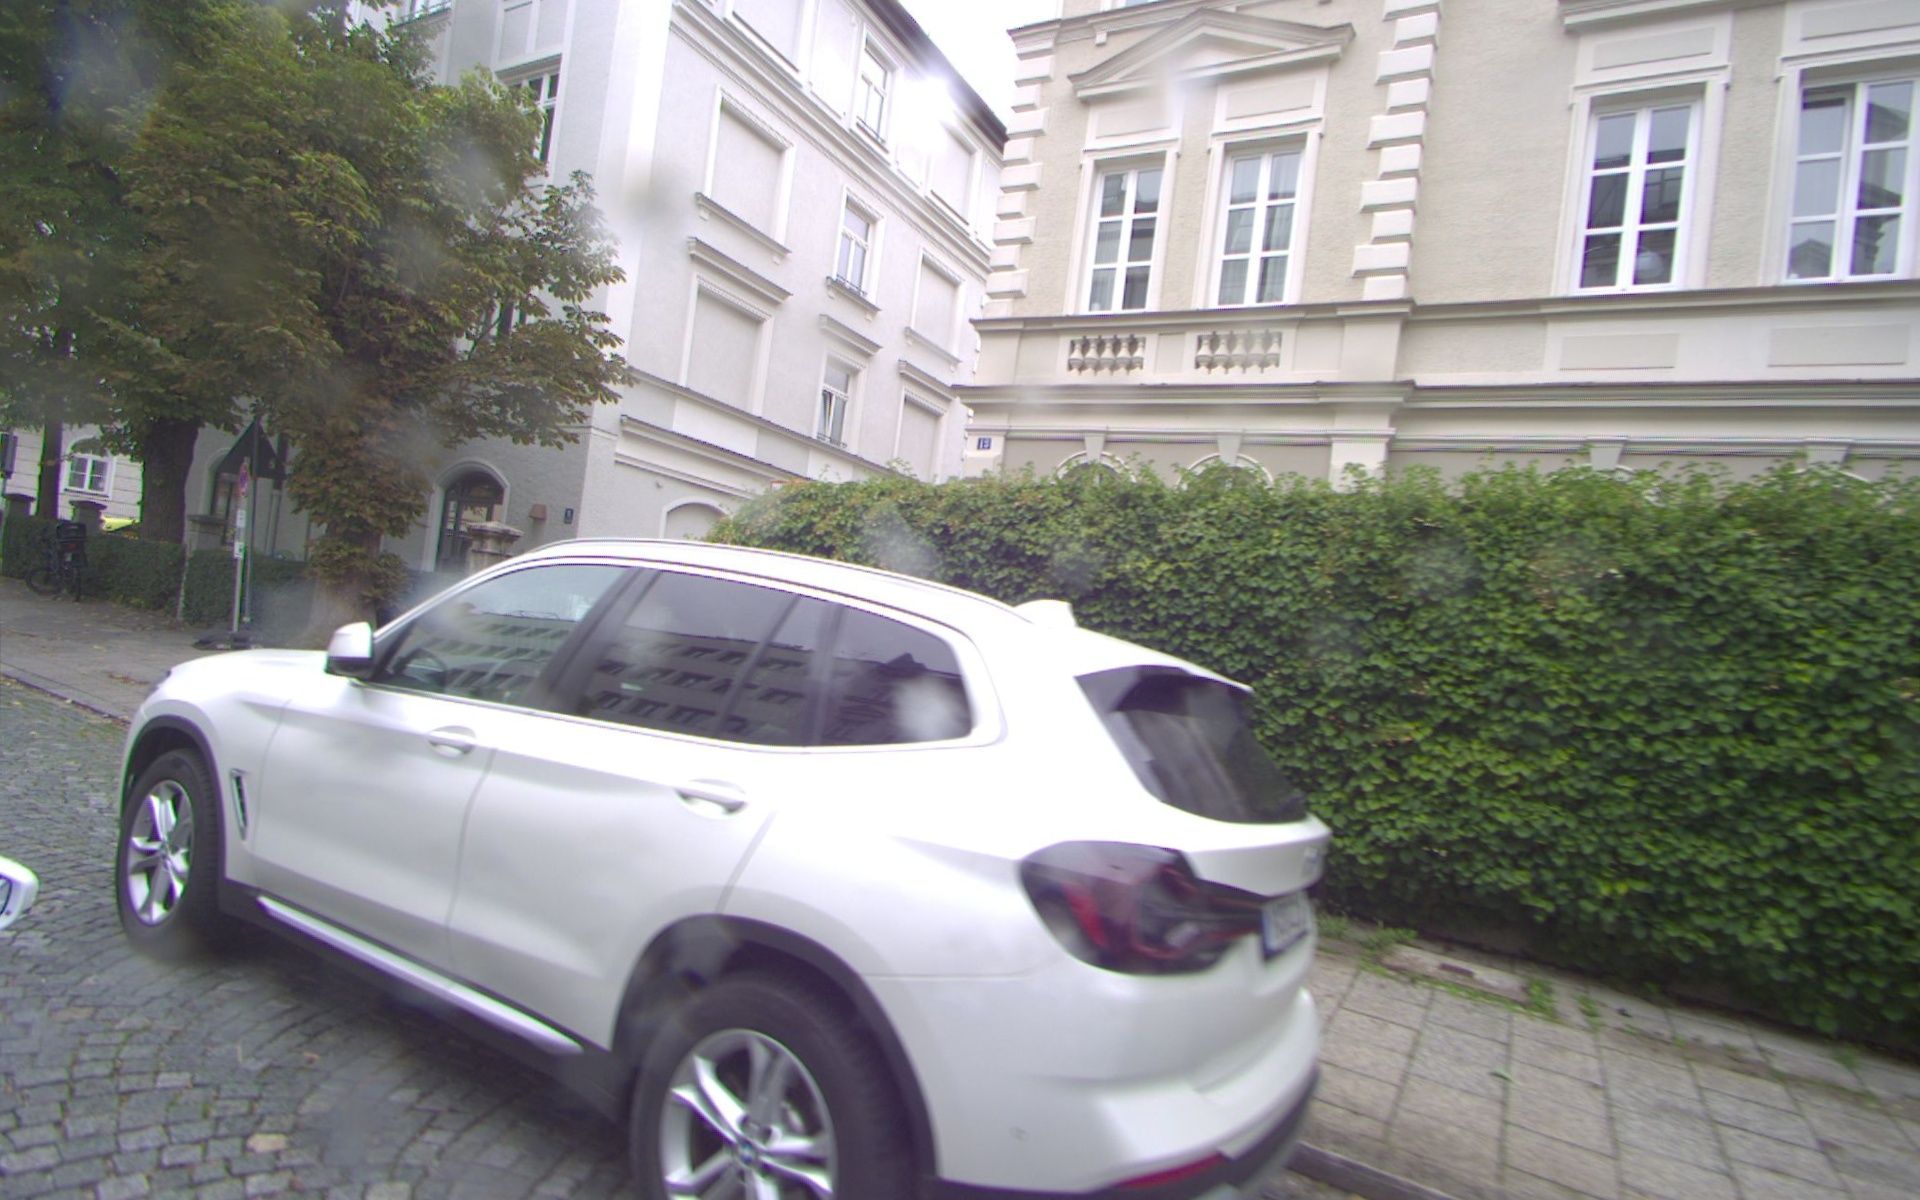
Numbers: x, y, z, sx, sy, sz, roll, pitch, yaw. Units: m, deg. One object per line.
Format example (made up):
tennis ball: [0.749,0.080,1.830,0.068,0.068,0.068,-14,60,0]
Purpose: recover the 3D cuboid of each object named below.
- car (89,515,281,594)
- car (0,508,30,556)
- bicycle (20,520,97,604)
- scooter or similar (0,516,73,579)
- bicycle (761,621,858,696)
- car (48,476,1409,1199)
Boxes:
car: [-22.624,-1.294,29.481,1.879,1.615,4.072,6,-4,42]
car: [-31.074,-2.374,30.116,1.734,1.373,4.469,7,-2,38]
bicycle: [-14.436,-0.617,16.100,1.702,1.214,0.427,6,3,32]
scooter or similar: [-20.260,-1.158,21.677,1.594,1.186,0.401,8,-2,-37]
bicycle: [-2.708,1.044,18.004,1.644,1.114,0.421,6,-2,26]
car: [-1.062,0.645,3.605,4.557,1.704,1.925,6,-3,31]
